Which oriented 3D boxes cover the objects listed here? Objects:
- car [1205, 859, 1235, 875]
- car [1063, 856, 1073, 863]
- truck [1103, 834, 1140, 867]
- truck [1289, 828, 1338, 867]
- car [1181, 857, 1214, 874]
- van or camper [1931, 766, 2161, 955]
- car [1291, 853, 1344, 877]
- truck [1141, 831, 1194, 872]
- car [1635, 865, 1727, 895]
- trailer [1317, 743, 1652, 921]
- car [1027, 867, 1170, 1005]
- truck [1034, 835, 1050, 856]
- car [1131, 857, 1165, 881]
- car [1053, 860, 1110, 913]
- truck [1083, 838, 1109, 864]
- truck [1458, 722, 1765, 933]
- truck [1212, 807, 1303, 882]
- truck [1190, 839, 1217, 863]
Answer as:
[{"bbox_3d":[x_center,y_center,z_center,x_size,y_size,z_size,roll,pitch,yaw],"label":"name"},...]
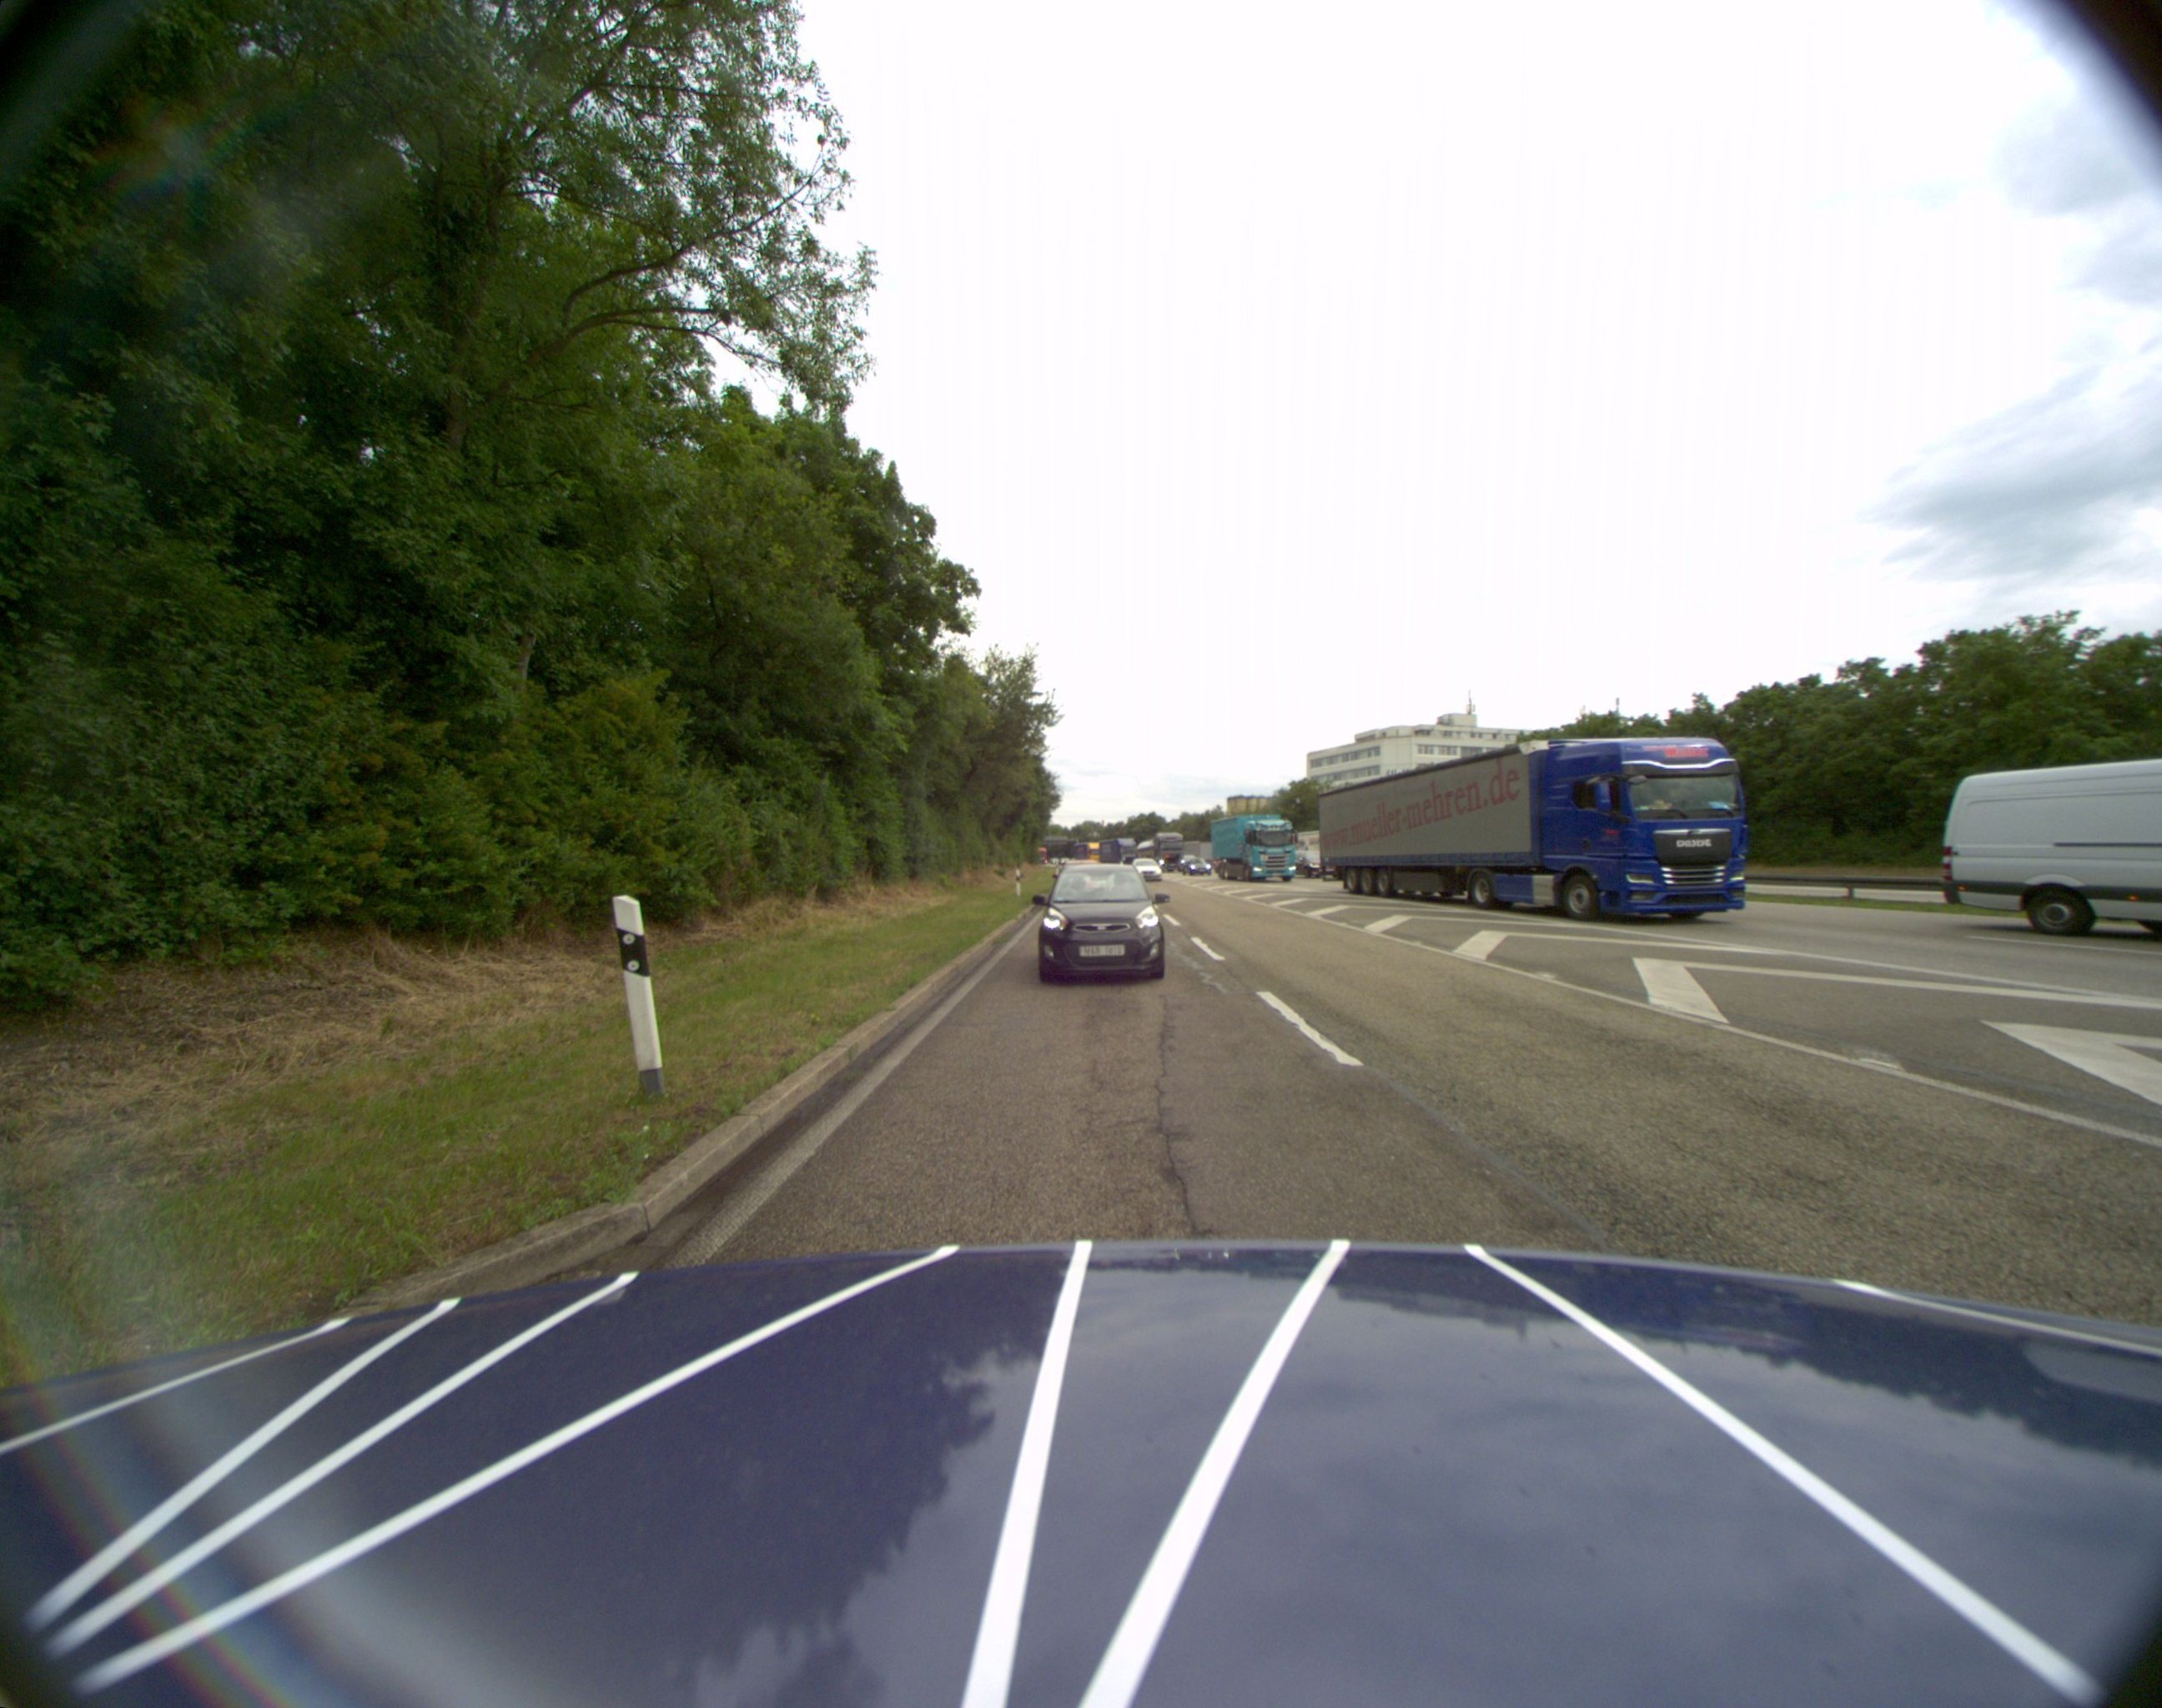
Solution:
[{"bbox_3d":[12.913,1.198,70.734,1.898,1.425,4.054,-1,0,-3],"label":"car"},{"bbox_3d":[-2.723,1.083,157.569,1.636,1.328,3.192,-1,0,-10],"label":"car"},{"bbox_3d":[5.480,-0.449,105.892,2.815,4.206,13.998,-1,0,-6],"label":"truck"},{"bbox_3d":[24.252,-0.643,79.628,2.354,3.861,8.112,-1,0,-2],"label":"truck"},{"bbox_3d":[9.368,0.917,61.442,1.757,1.314,3.998,-1,0,-4],"label":"car"},{"bbox_3d":[15.929,0.079,9.785,2.055,2.606,6.954,-1,0,-2],"label":"van or camper"},{"bbox_3d":[14.787,0.689,47.756,1.898,1.425,3.999,-1,0,-3],"label":"car"},{"bbox_3d":[8.932,-0.245,80.211,3.328,3.902,13.141,-1,0,-3],"label":"truck"},{"bbox_3d":[29.635,1.246,37.640,1.666,1.383,3.549,-1,0,-3],"label":"car"},{"bbox_3d":[11.227,-0.490,23.983,2.680,3.951,13.916,-1,0,-2],"label":"trailer"},{"bbox_3d":[0.245,0.970,10.614,1.584,1.485,4.000,-1,0,1],"label":"car"},{"bbox_3d":[-9.829,-2.102,190.491,2.848,5.070,14.111,-1,0,-8],"label":"truck"},{"bbox_3d":[4.393,0.960,50.550,1.863,1.455,4.884,-2,0,0],"label":"car"},{"bbox_3d":[0.018,0.966,23.962,1.630,1.492,3.564,-1,0,0],"label":"car"},{"bbox_3d":[2.456,-0.511,132.302,2.847,4.206,14.114,-1,0,-5],"label":"truck"},{"bbox_3d":[11.484,-0.500,17.284,2.676,3.938,5.926,-1,0,-2],"label":"truck"},{"bbox_3d":[10.433,-0.510,46.227,2.700,3.977,10.122,-1,0,-2],"label":"truck"},{"bbox_3d":[19.091,-0.447,118.836,2.000,3.739,7.542,-1,0,-7],"label":"truck"}]
